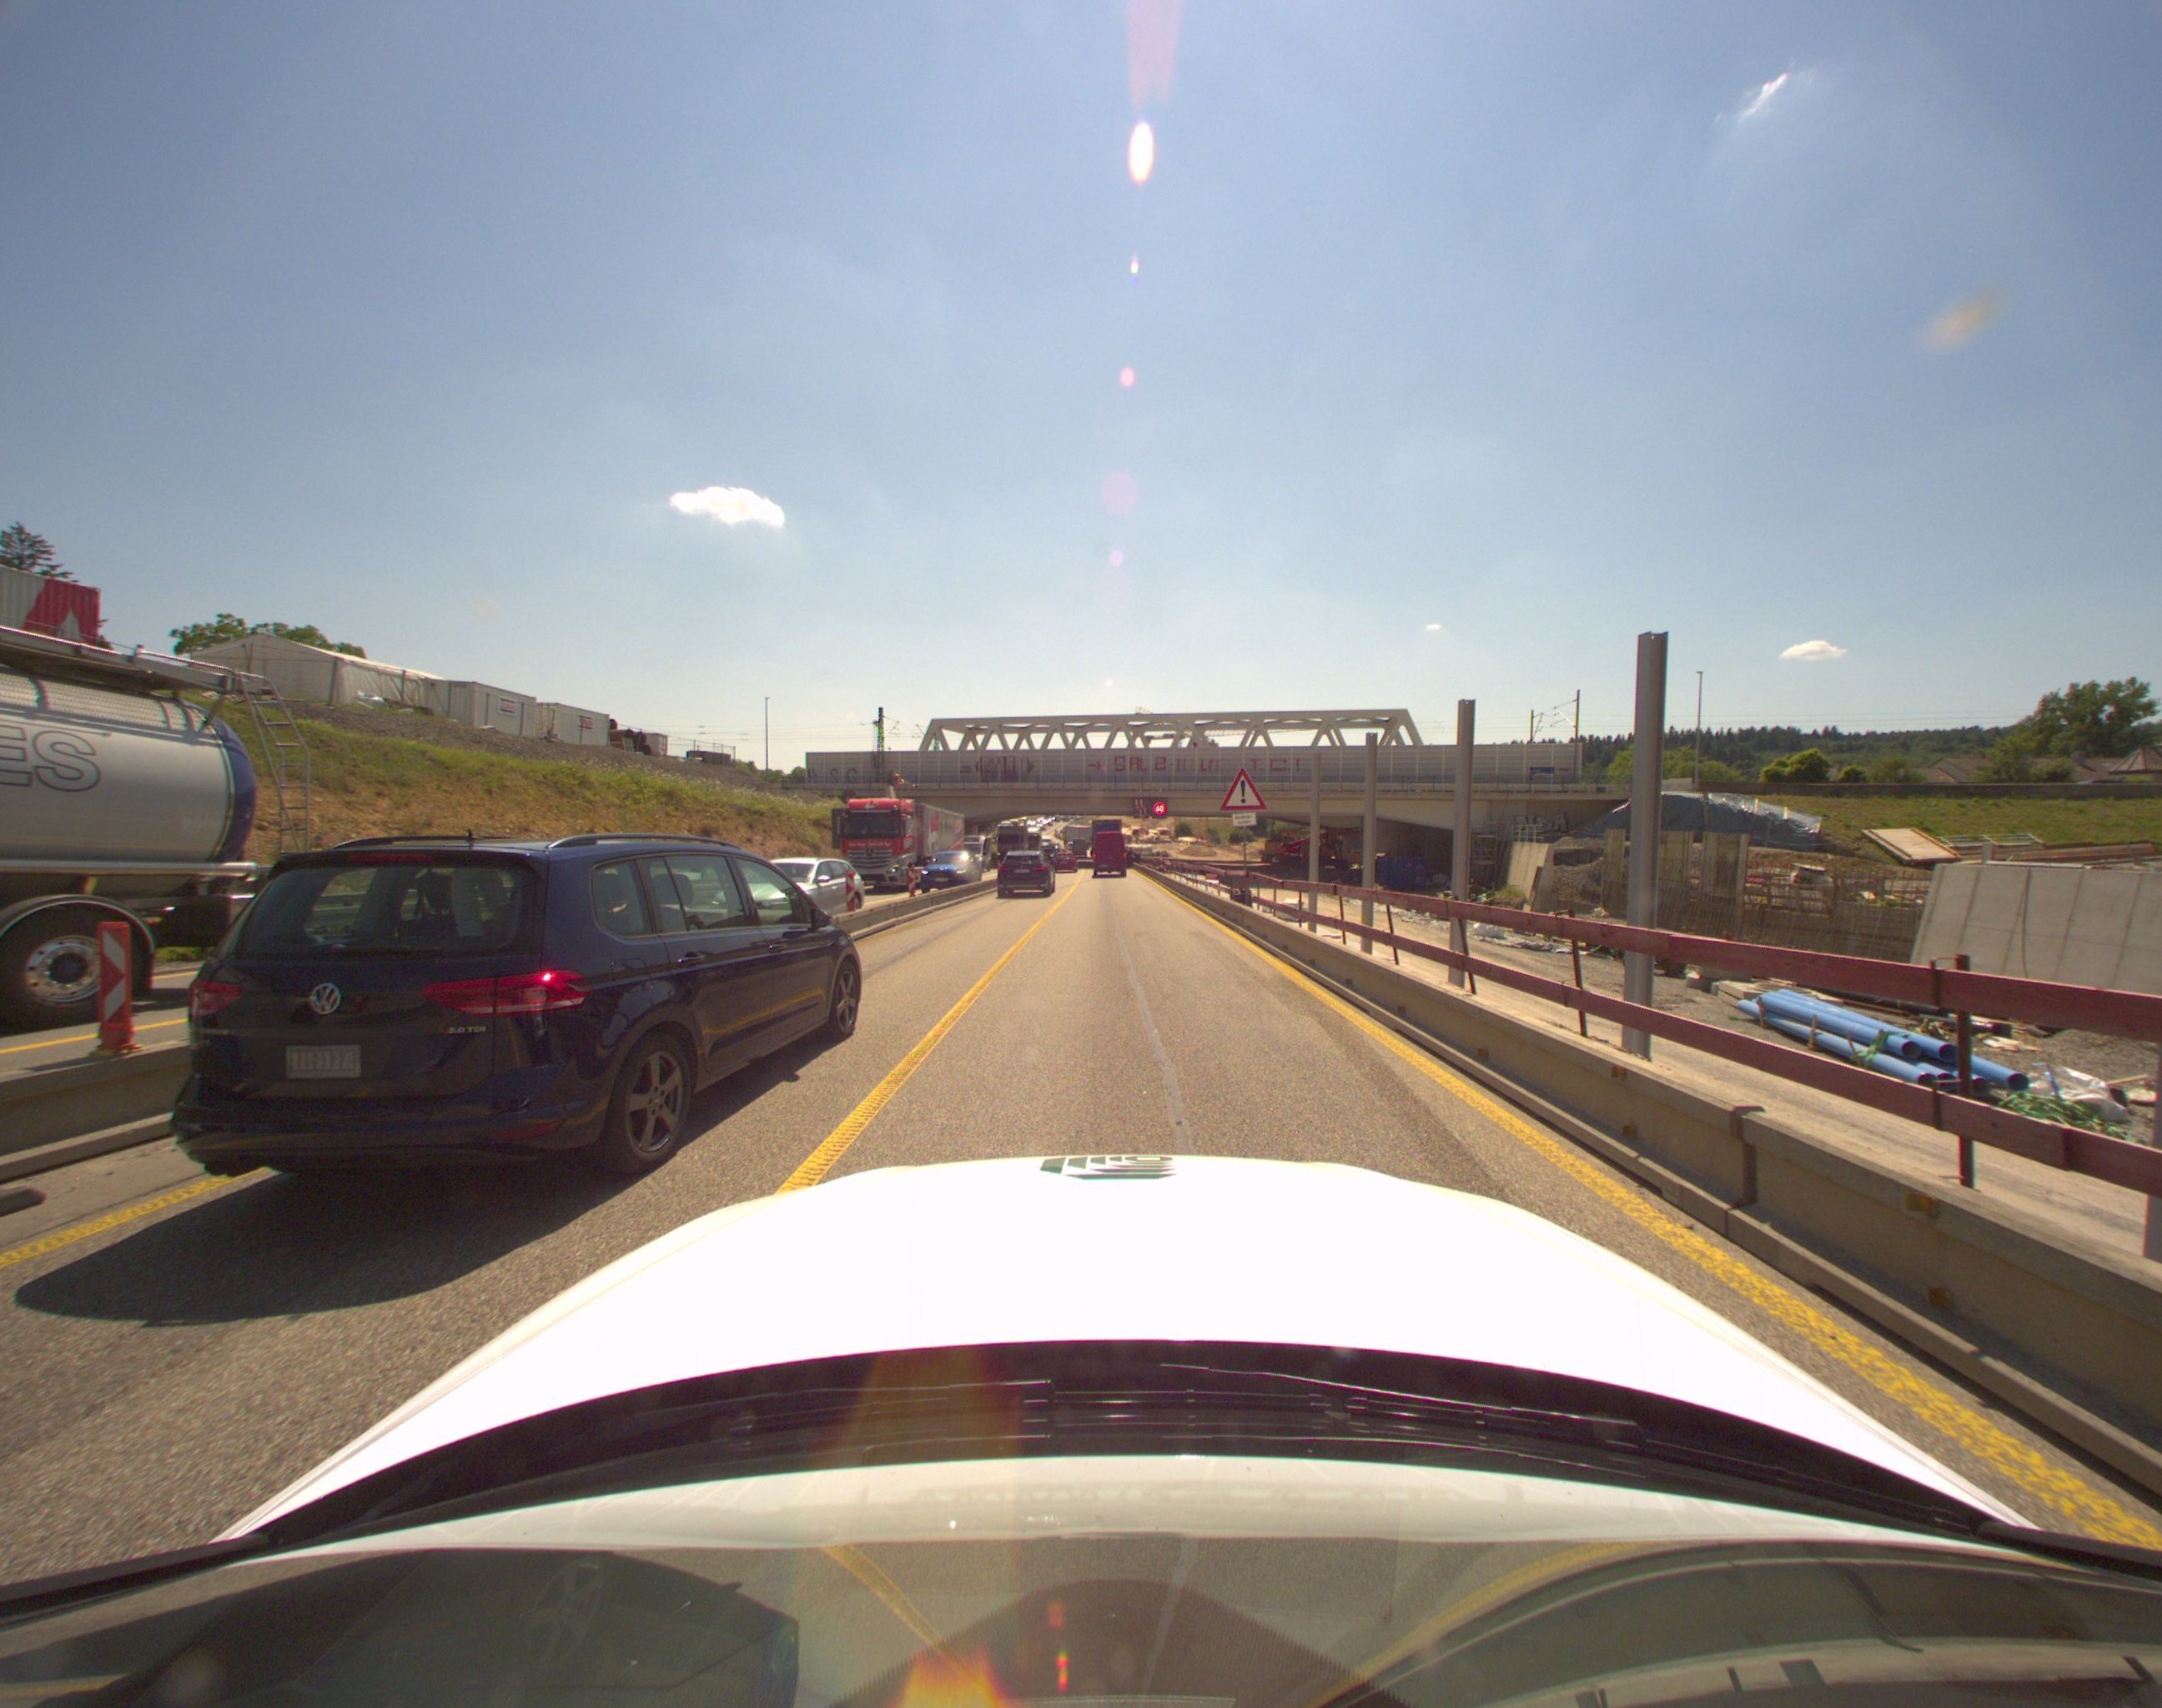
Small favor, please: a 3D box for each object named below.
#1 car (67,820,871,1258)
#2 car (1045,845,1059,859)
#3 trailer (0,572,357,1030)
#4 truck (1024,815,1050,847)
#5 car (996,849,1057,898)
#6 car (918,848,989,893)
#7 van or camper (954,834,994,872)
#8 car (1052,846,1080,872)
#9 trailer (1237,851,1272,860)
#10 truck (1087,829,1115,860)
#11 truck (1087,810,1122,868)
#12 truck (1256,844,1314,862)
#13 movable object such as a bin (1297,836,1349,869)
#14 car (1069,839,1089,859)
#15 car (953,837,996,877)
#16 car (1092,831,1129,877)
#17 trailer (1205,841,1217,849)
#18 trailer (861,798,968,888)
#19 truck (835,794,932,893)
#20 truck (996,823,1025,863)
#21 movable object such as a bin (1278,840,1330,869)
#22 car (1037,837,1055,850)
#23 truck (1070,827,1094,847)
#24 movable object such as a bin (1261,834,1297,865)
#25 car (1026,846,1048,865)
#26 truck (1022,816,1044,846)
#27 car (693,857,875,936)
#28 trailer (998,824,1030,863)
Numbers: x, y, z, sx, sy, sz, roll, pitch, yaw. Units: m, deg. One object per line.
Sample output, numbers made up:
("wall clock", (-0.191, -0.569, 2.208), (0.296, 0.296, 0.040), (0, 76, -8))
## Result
("car", (-2.887, 0.692, 5.264), (1.727, 1.635, 4.392), (0, 0, 3))
("car", (-4.230, -0.307, 119.758), (1.794, 1.932, 4.967), (0, 1, 0))
("trailer", (-10.634, -0.460, 4.415), (2.587, 3.870, 11.288), (0, -1, 5))
("truck", (-6.642, -3.374, 124.770), (2.758, 4.313, 13.497), (0, 0, 2))
("car", (-1.897, 0.649, 29.568), (1.827, 1.635, 4.390), (0, 0, 1))
("car", (-5.028, 0.623, 32.795), (1.825, 1.664, 4.689), (0, 0, 4))
("van or camper", (-7.929, -0.072, 60.819), (2.117, 2.705, 6.454), (0, 0, 0))
("car", (-1.044, 0.343, 58.707), (1.827, 1.777, 4.391), (0, 0, 2))
("trailer", (25.041, 0.223, 117.789), (4.696, 1.219, 2.056), (0, -1, 1))
("truck", (2.707, -1.397, 113.161), (3.177, 3.988, 6.730), (-1, 3, -6))
("truck", (2.045, -1.485, 73.446), (2.935, 4.944, 6.743), (0, 3, 0))
("truck", (24.801, -0.100, 99.214), (6.491, 2.073, 2.669), (1, 1, 4))
("movable object such as a bin", (24.510, -0.138, 82.631), (4.531, 3.287, 2.995), (1, -1, 5))
("car", (-0.290, -0.744, 108.079), (2.261, 2.354, 5.153), (0, 3, -5))
("car", (-7.859, 0.220, 60.785), (2.268, 2.821, 6.558), (0, -1, 0))
("car", (1.800, 0.013, 49.644), (2.142, 2.611, 5.440), (0, -1, 2))
("trailer", (24.575, -1.720, 154.289), (1.619, 1.486, 3.823), (0, 1, -2))
("trailer", (-7.898, -0.423, 40.544), (2.646, 3.816, 11.822), (0, 0, 1))
("truck", (-8.133, -0.383, 34.152), (2.575, 3.828, 5.383), (0, -1, 2))
("truck", (-7.429, -1.115, 86.234), (2.789, 4.150, 4.072), (0, -1, 0))
("movable object such as a bin", (24.570, 0.022, 89.897), (5.214, 3.056, 2.500), (1, -1, 5))
("car", (-6.391, -1.839, 147.851), (1.983, 2.330, 6.029), (-1, 1, -14))
("truck", (0.142, -3.094, 150.326), (3.217, 3.360, 8.915), (0, -1, -8))
("movable object such as a bin", (22.829, -0.498, 94.012), (3.855, 3.542, 2.912), (1, -1, 12))
("car", (-4.359, 0.075, 80.703), (1.849, 1.756, 4.610), (0, 1, 1))
("truck", (-6.949, -3.265, 118.274), (2.649, 4.171, 5.188), (0, -1, 2))
("car", (-6.060, 0.797, 17.284), (1.824, 1.429, 4.542), (0, 0, 6))
("trailer", (-7.416, -1.081, 90.565), (2.803, 4.174, 8.242), (0, -1, 0))
